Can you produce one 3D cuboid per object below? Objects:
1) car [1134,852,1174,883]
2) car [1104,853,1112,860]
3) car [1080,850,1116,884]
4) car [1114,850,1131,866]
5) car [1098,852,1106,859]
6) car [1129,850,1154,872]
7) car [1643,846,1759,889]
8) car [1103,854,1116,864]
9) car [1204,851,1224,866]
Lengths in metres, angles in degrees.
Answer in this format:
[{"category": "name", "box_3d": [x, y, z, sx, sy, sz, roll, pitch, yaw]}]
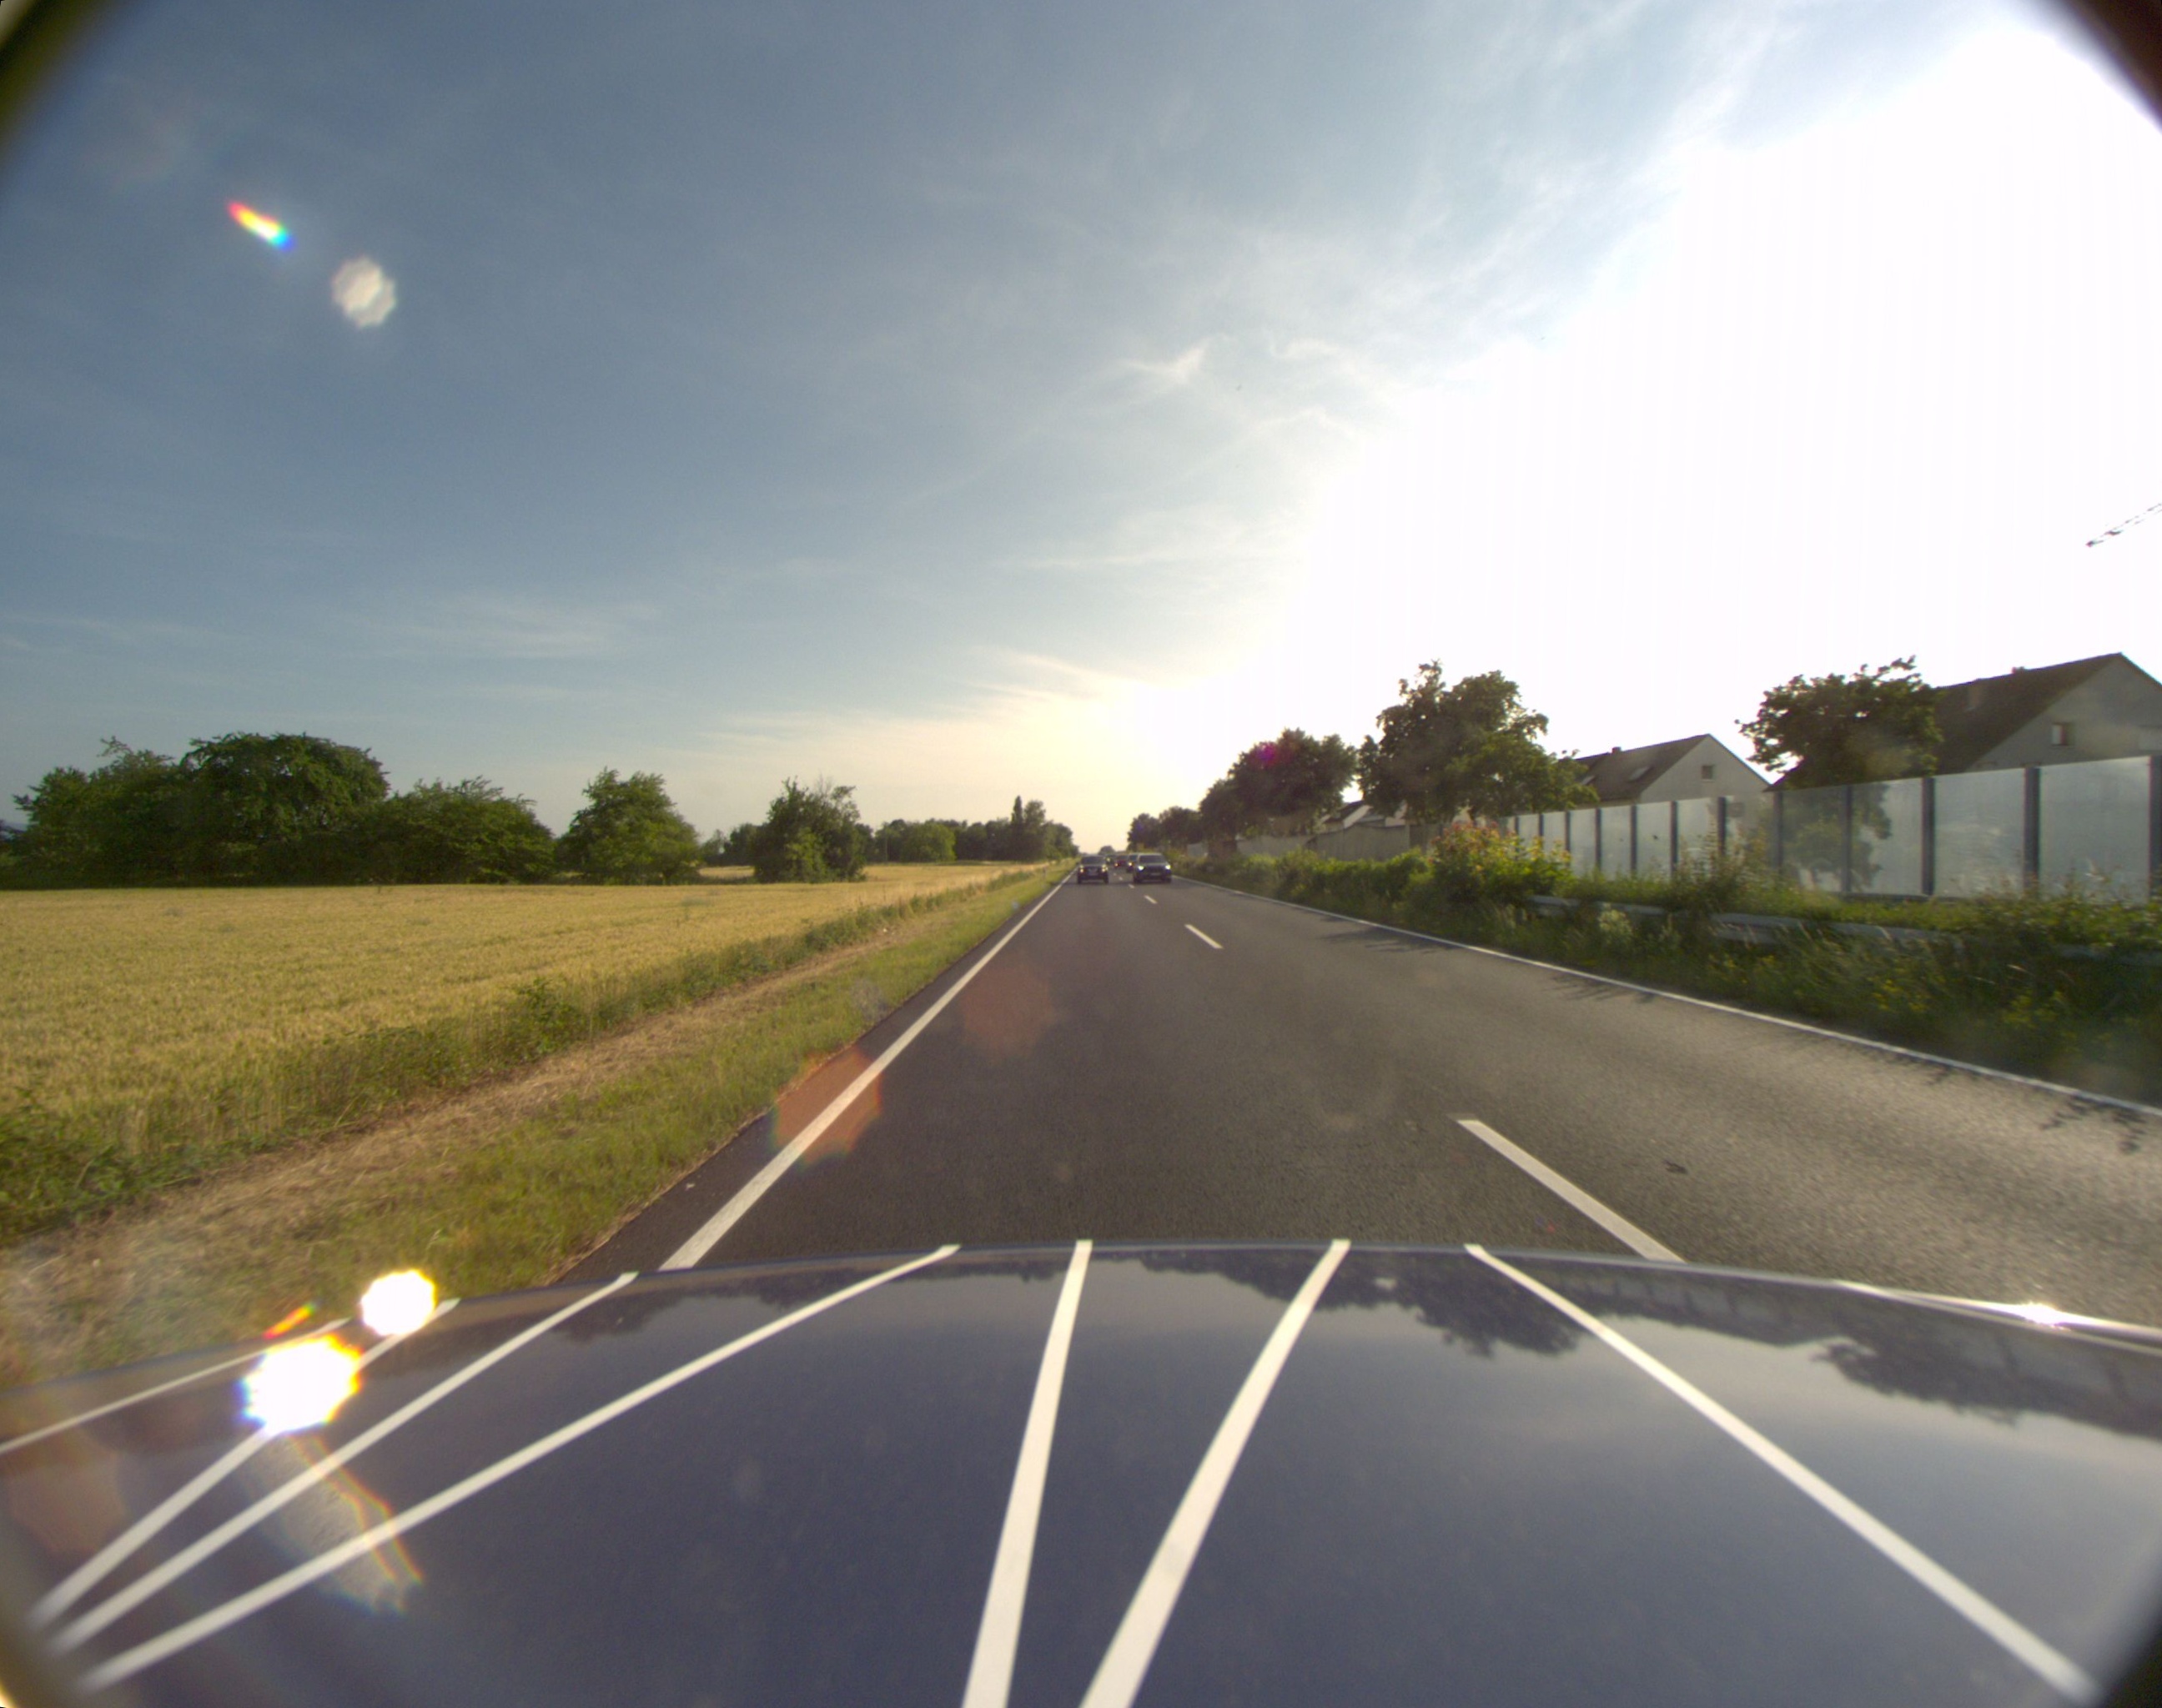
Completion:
[{"category": "car", "box_3d": [3.975, 0.692, 42.001, 1.821, 1.516, 4.246, -2, 1, 2]}, {"category": "car", "box_3d": [6.143, 0.543, 175.574, 1.693, 1.397, 4.000, -2, 1, 1]}, {"category": "car", "box_3d": [0.912, 0.675, 41.840, 1.822, 1.661, 4.000, -2, 1, 1]}, {"category": "car", "box_3d": [4.748, 0.464, 86.980, 1.822, 1.661, 4.000, -2, 1, 1]}, {"category": "car", "box_3d": [5.465, 0.295, 199.753, 1.854, 1.641, 3.999, -2, 1, 1]}, {"category": "car", "box_3d": [5.123, 0.602, 64.909, 1.822, 1.724, 4.000, -2, 1, 2]}, {"category": "car", "box_3d": [30.745, 0.597, 37.889, 1.790, 1.908, 4.914, -2, 1, 1]}, {"category": "car", "box_3d": [4.221, 0.706, 112.663, 1.700, 1.456, 3.646, -2, 1, 1]}, {"category": "car", "box_3d": [16.879, 0.568, 96.793, 1.842, 1.784, 4.299, -2, 1, 1]}]
